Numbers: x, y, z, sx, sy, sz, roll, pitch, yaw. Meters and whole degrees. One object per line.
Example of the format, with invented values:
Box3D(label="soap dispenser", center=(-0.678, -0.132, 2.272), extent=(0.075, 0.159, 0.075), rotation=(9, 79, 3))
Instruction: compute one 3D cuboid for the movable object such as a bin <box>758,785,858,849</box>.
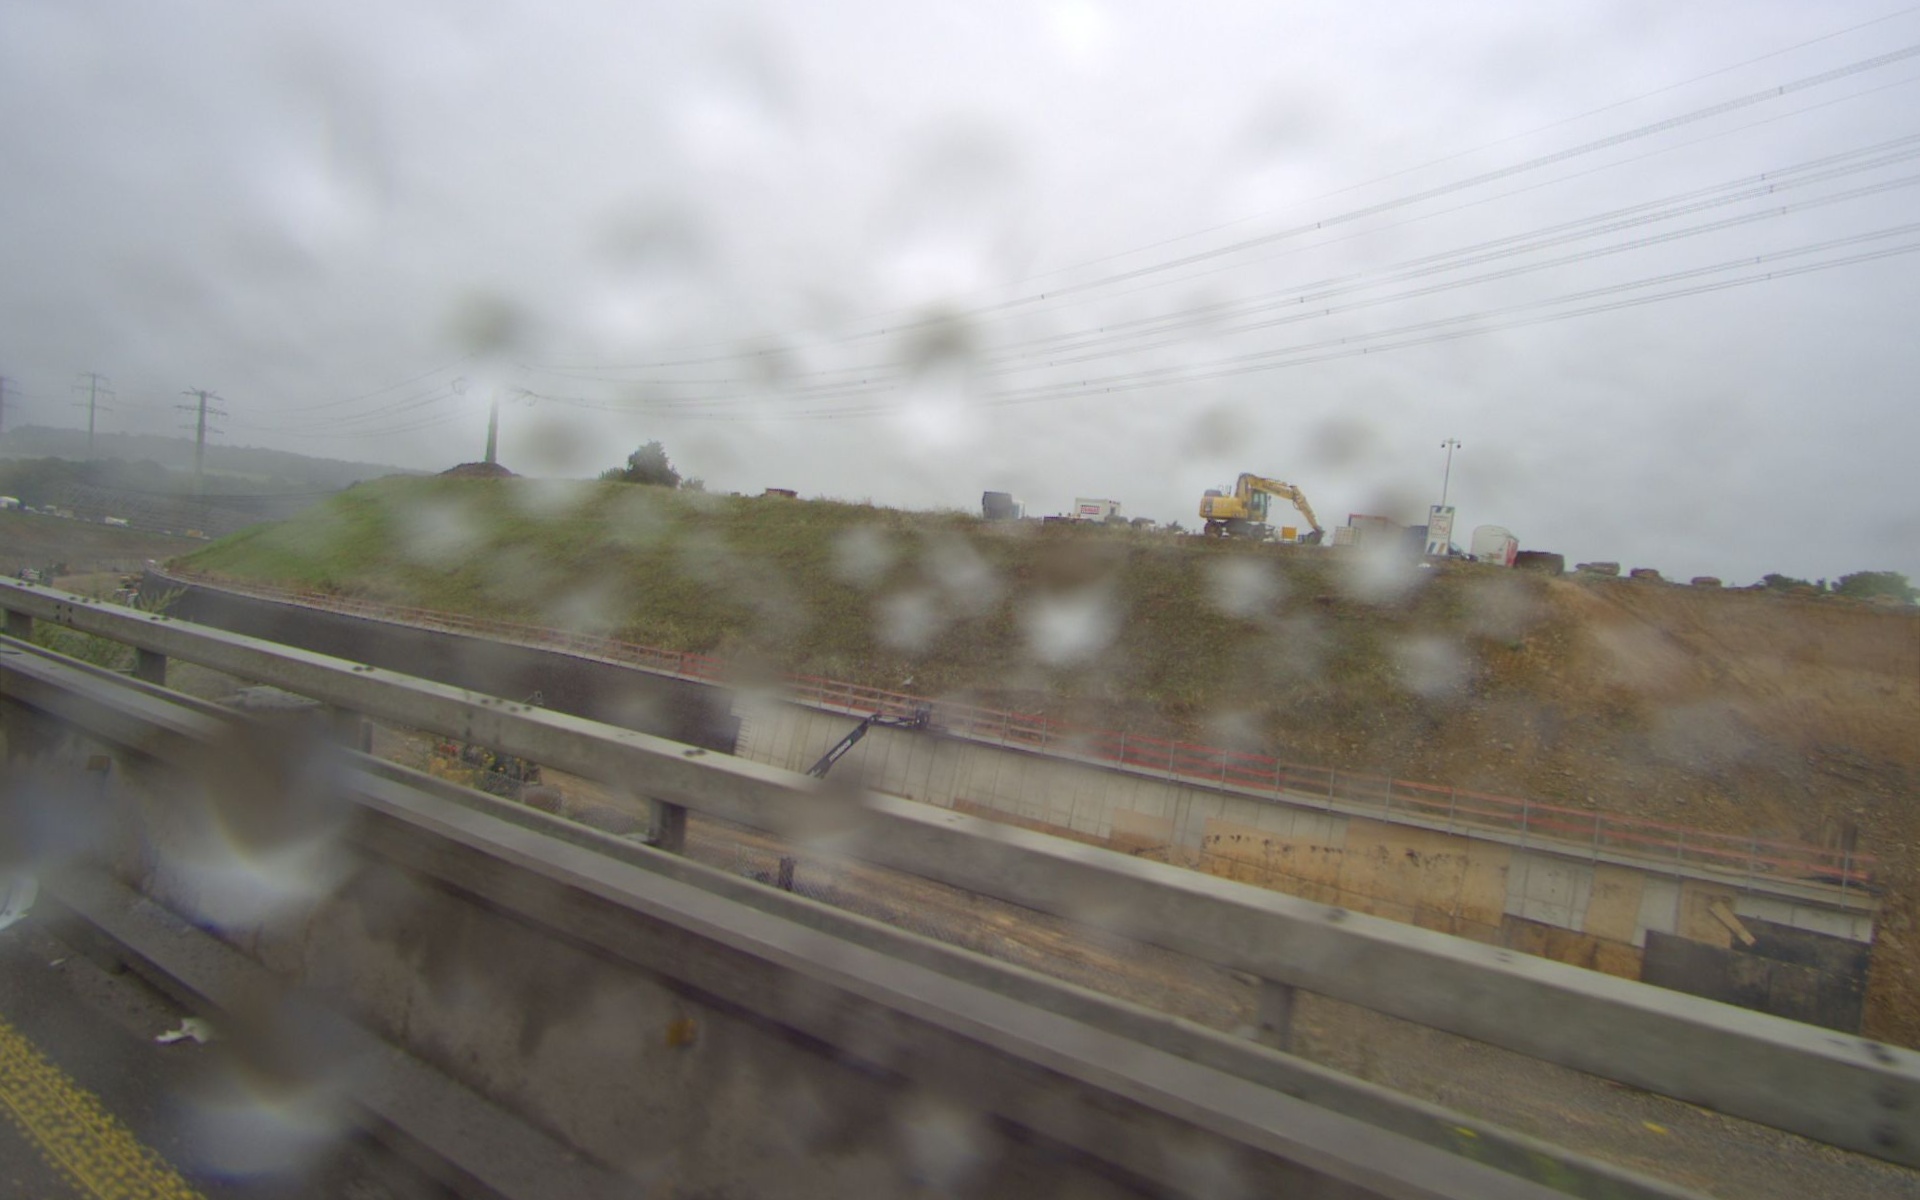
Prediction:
Box3D(label="movable object such as a bin", center=(-6.557, 9.316, 43.420), extent=(3.202, 1.932, 2.523), rotation=(6, -3, 29))

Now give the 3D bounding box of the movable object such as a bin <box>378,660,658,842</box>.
Box3D(label="movable object such as a bin", center=(-18.855, 6.047, 42.486), extent=(11.905, 5.732, 4.900), rotation=(3, -4, 35))

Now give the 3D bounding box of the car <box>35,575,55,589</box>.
Box3D(label="car", center=(-149.128, -2.984, 163.978), extent=(3.947, 1.837, 1.990), rotation=(6, -1, 44))

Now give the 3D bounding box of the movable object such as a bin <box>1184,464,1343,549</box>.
Box3D(label="movable object such as a bin", center=(17.862, -5.559, 59.525), extent=(8.052, 4.259, 3.098), rotation=(7, 1, 36))

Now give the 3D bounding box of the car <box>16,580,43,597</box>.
Box3D(label="car", center=(-138.739, -1.762, 150.010), extent=(3.944, 2.037, 2.363), rotation=(6, -2, 41))
